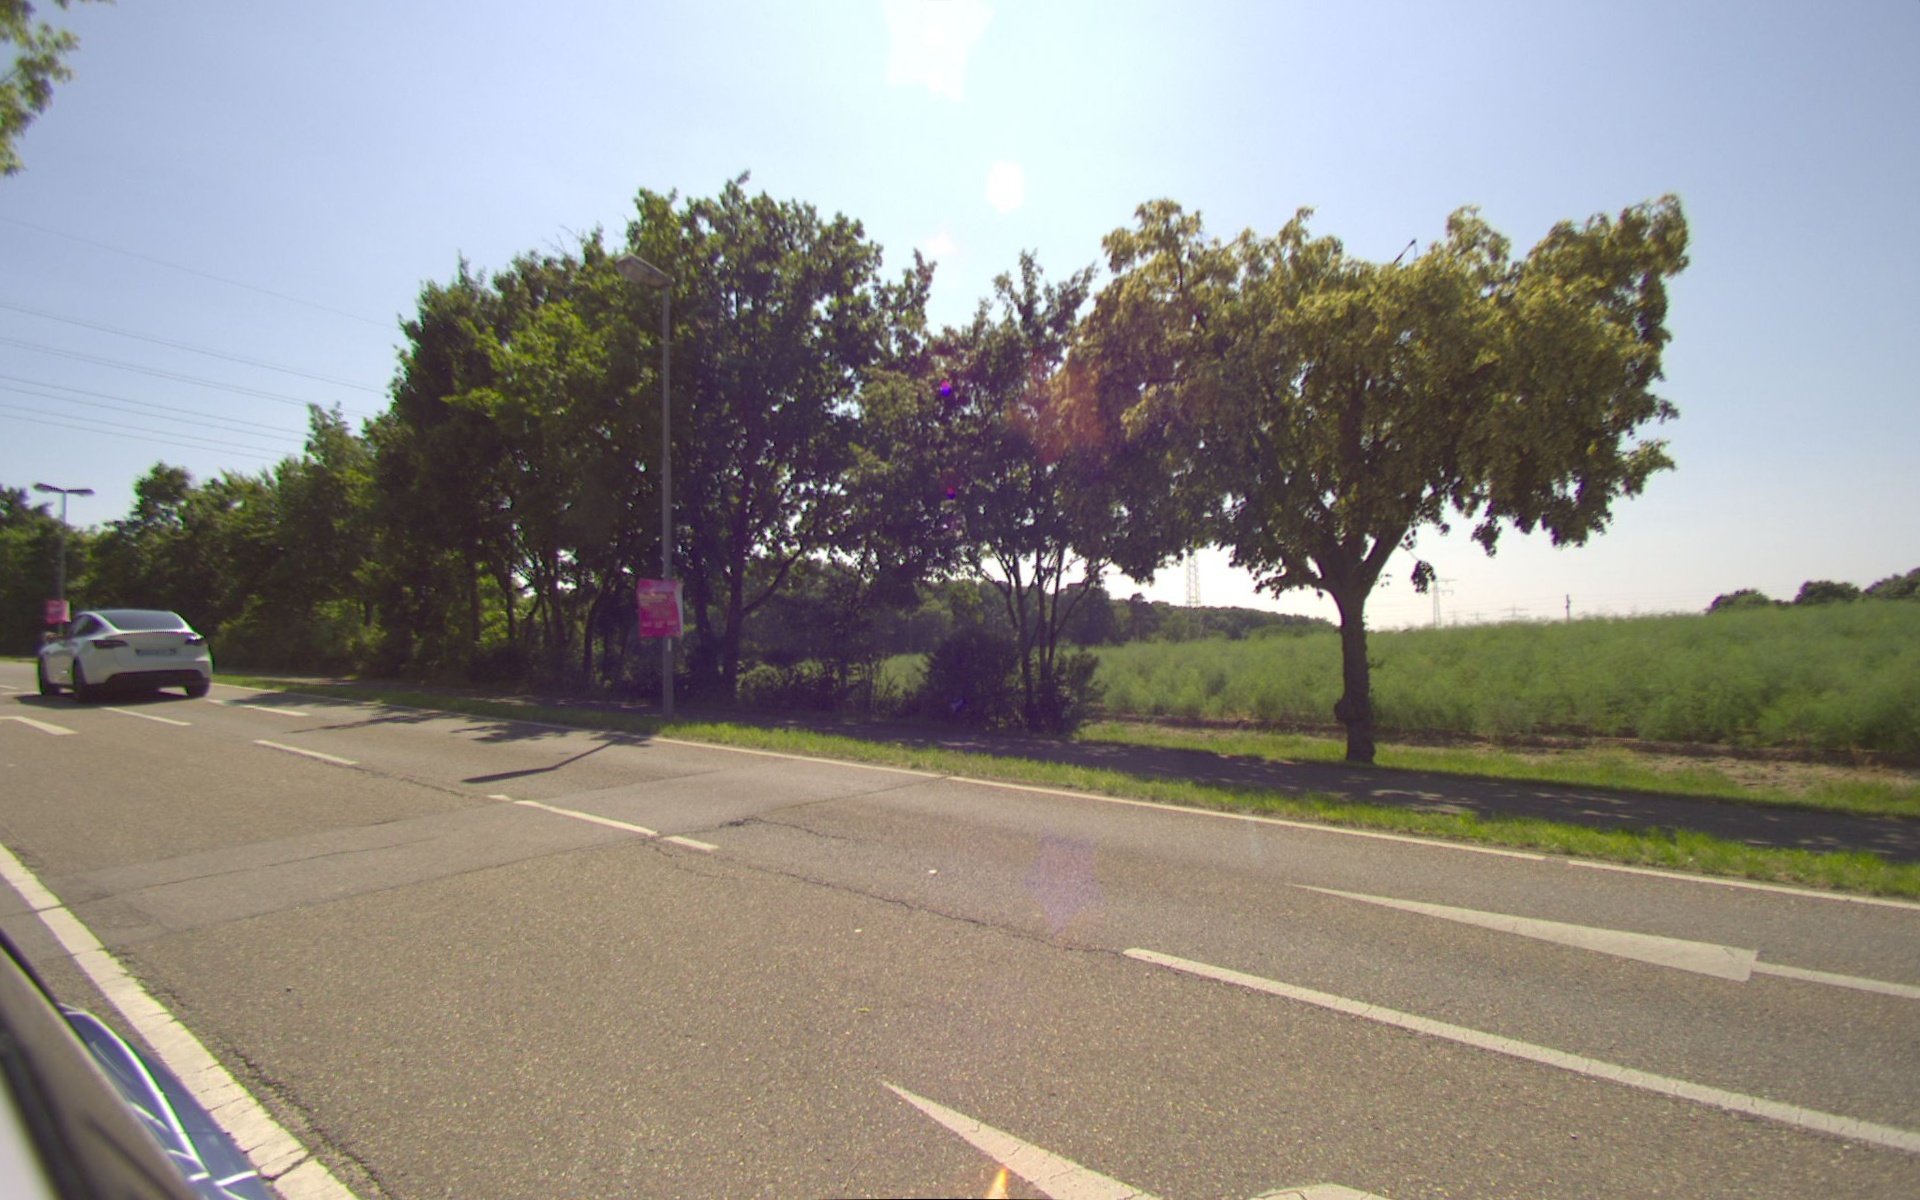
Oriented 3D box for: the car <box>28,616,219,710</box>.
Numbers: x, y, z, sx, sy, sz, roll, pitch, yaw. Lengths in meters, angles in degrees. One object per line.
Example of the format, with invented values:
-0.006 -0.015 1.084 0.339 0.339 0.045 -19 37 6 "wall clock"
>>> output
-15.881 1.131 19.145 4.465 1.584 1.858 -2 -2 38 "car"
